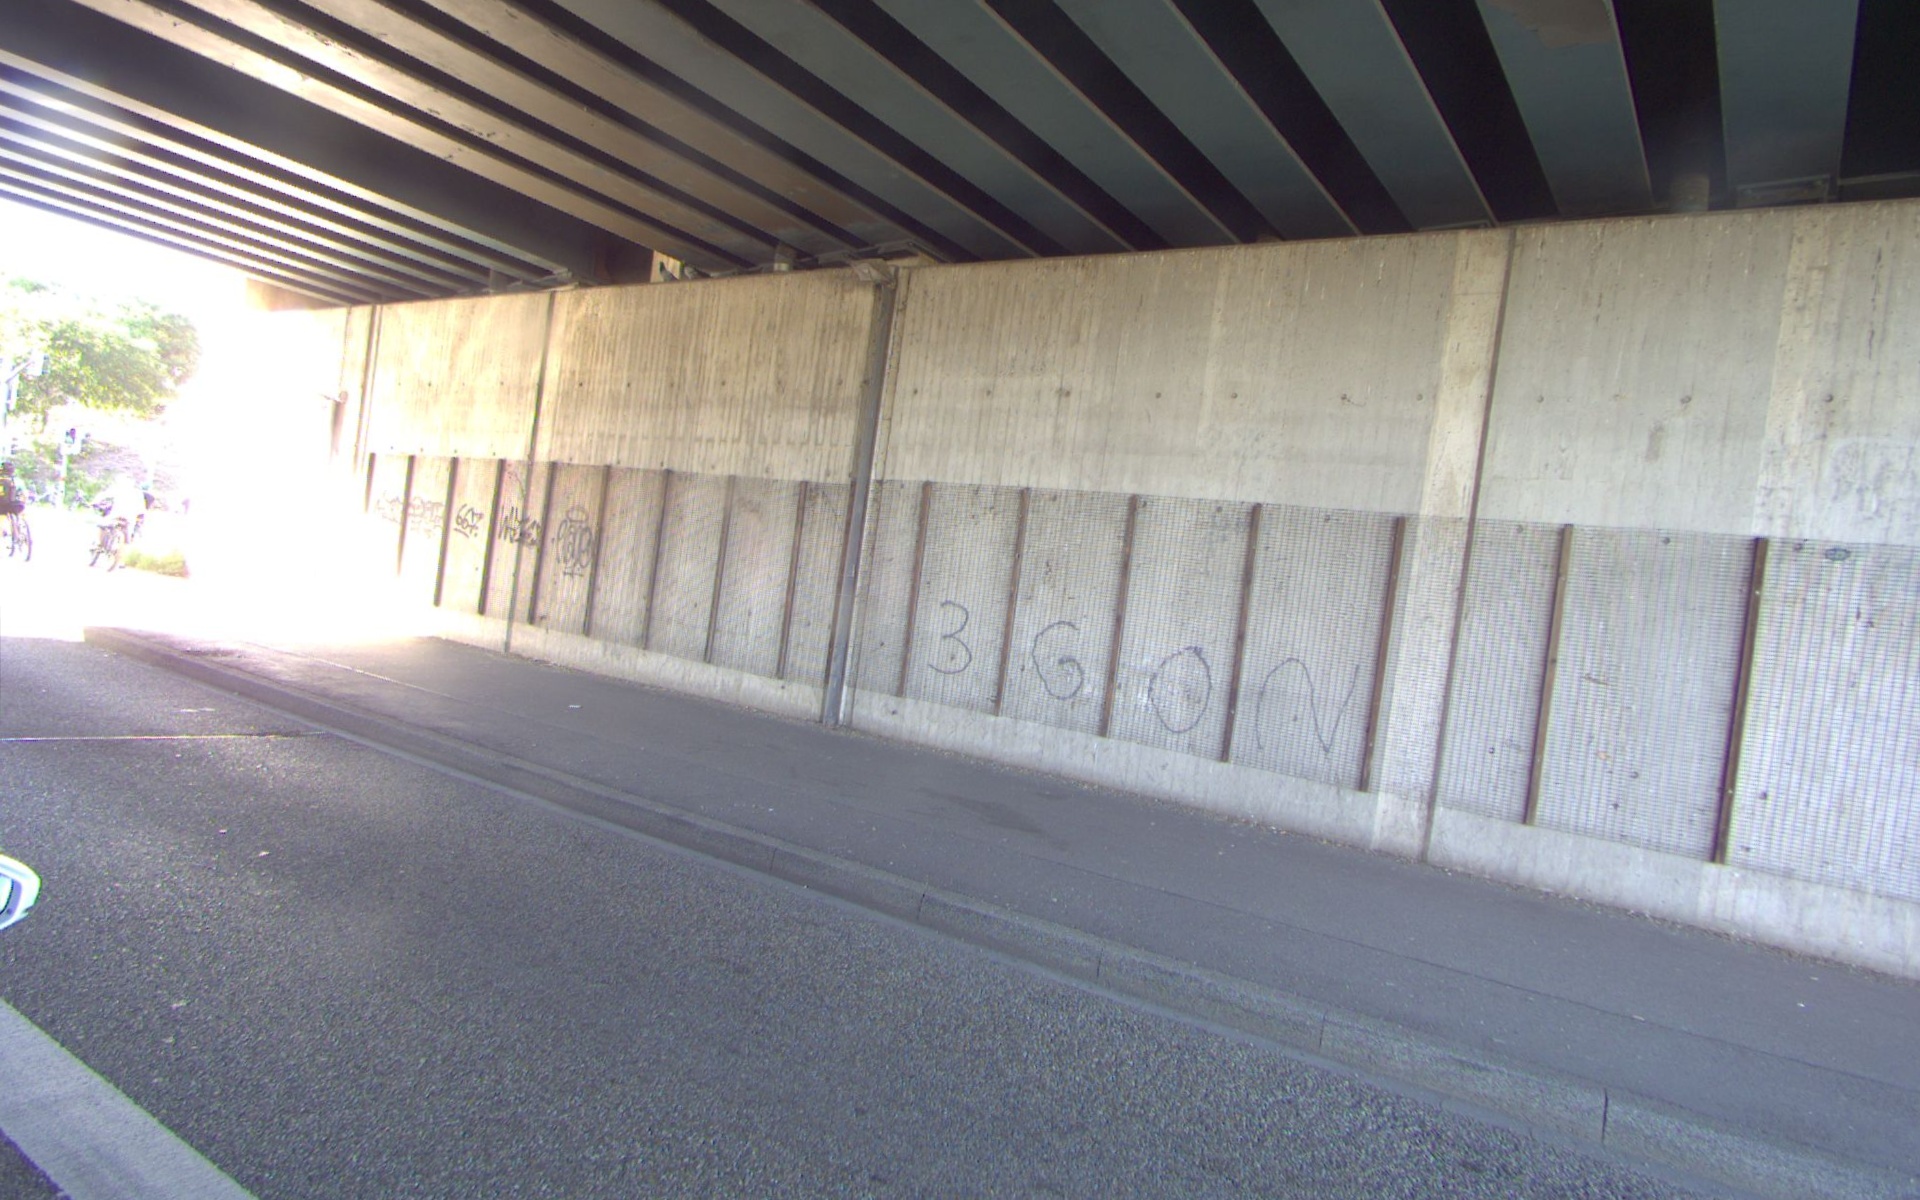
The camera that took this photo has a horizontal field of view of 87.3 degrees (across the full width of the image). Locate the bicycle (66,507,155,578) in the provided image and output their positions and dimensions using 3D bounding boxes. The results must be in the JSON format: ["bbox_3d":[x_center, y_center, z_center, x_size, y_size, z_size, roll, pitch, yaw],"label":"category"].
[{"bbox_3d":[-14.725,-1.006,17.425,1.721,1.035,0.593,6,-1,32],"label":"bicycle"}]

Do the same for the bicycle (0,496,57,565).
[{"bbox_3d":[-16.091,-1.202,17.066,1.721,1.035,0.593,6,-1,32],"label":"bicycle"}]

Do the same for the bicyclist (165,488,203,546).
[{"bbox_3d":[-21.530,-2.301,27.909,0.647,1.499,0.611,8,0,-41],"label":"bicyclist"}]

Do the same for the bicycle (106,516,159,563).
[{"bbox_3d":[-21.374,-1.568,25.959,2.027,1.035,0.671,6,-2,42],"label":"bicycle"}]

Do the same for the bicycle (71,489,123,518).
[{"bbox_3d":[-41.073,-4.583,47.892,0.586,1.035,1.743,6,-2,43],"label":"bicycle"}]

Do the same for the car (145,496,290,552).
[{"bbox_3d":[-31.294,-3.176,42.526,1.801,1.531,4.548,6,-3,39],"label":"car"}]

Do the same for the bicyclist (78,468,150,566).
[{"bbox_3d":[-14.660,-1.439,17.431,0.756,1.566,0.593,6,-1,32],"label":"bicyclist"}]

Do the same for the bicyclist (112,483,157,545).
[{"bbox_3d":[-21.319,-2.224,25.989,0.741,1.491,0.664,6,-1,42],"label":"bicyclist"}]

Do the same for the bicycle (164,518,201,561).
[{"bbox_3d":[-21.588,-1.688,27.912,0.665,1.035,1.730,8,0,-40],"label":"bicycle"}]

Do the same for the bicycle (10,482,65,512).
[{"bbox_3d":[-42.885,-4.786,46.776,0.585,1.035,1.744,6,-2,40],"label":"bicycle"}]

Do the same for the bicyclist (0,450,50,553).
[{"bbox_3d":[-16.154,-1.679,17.129,0.927,1.632,0.593,6,-1,32],"label":"bicyclist"}]
